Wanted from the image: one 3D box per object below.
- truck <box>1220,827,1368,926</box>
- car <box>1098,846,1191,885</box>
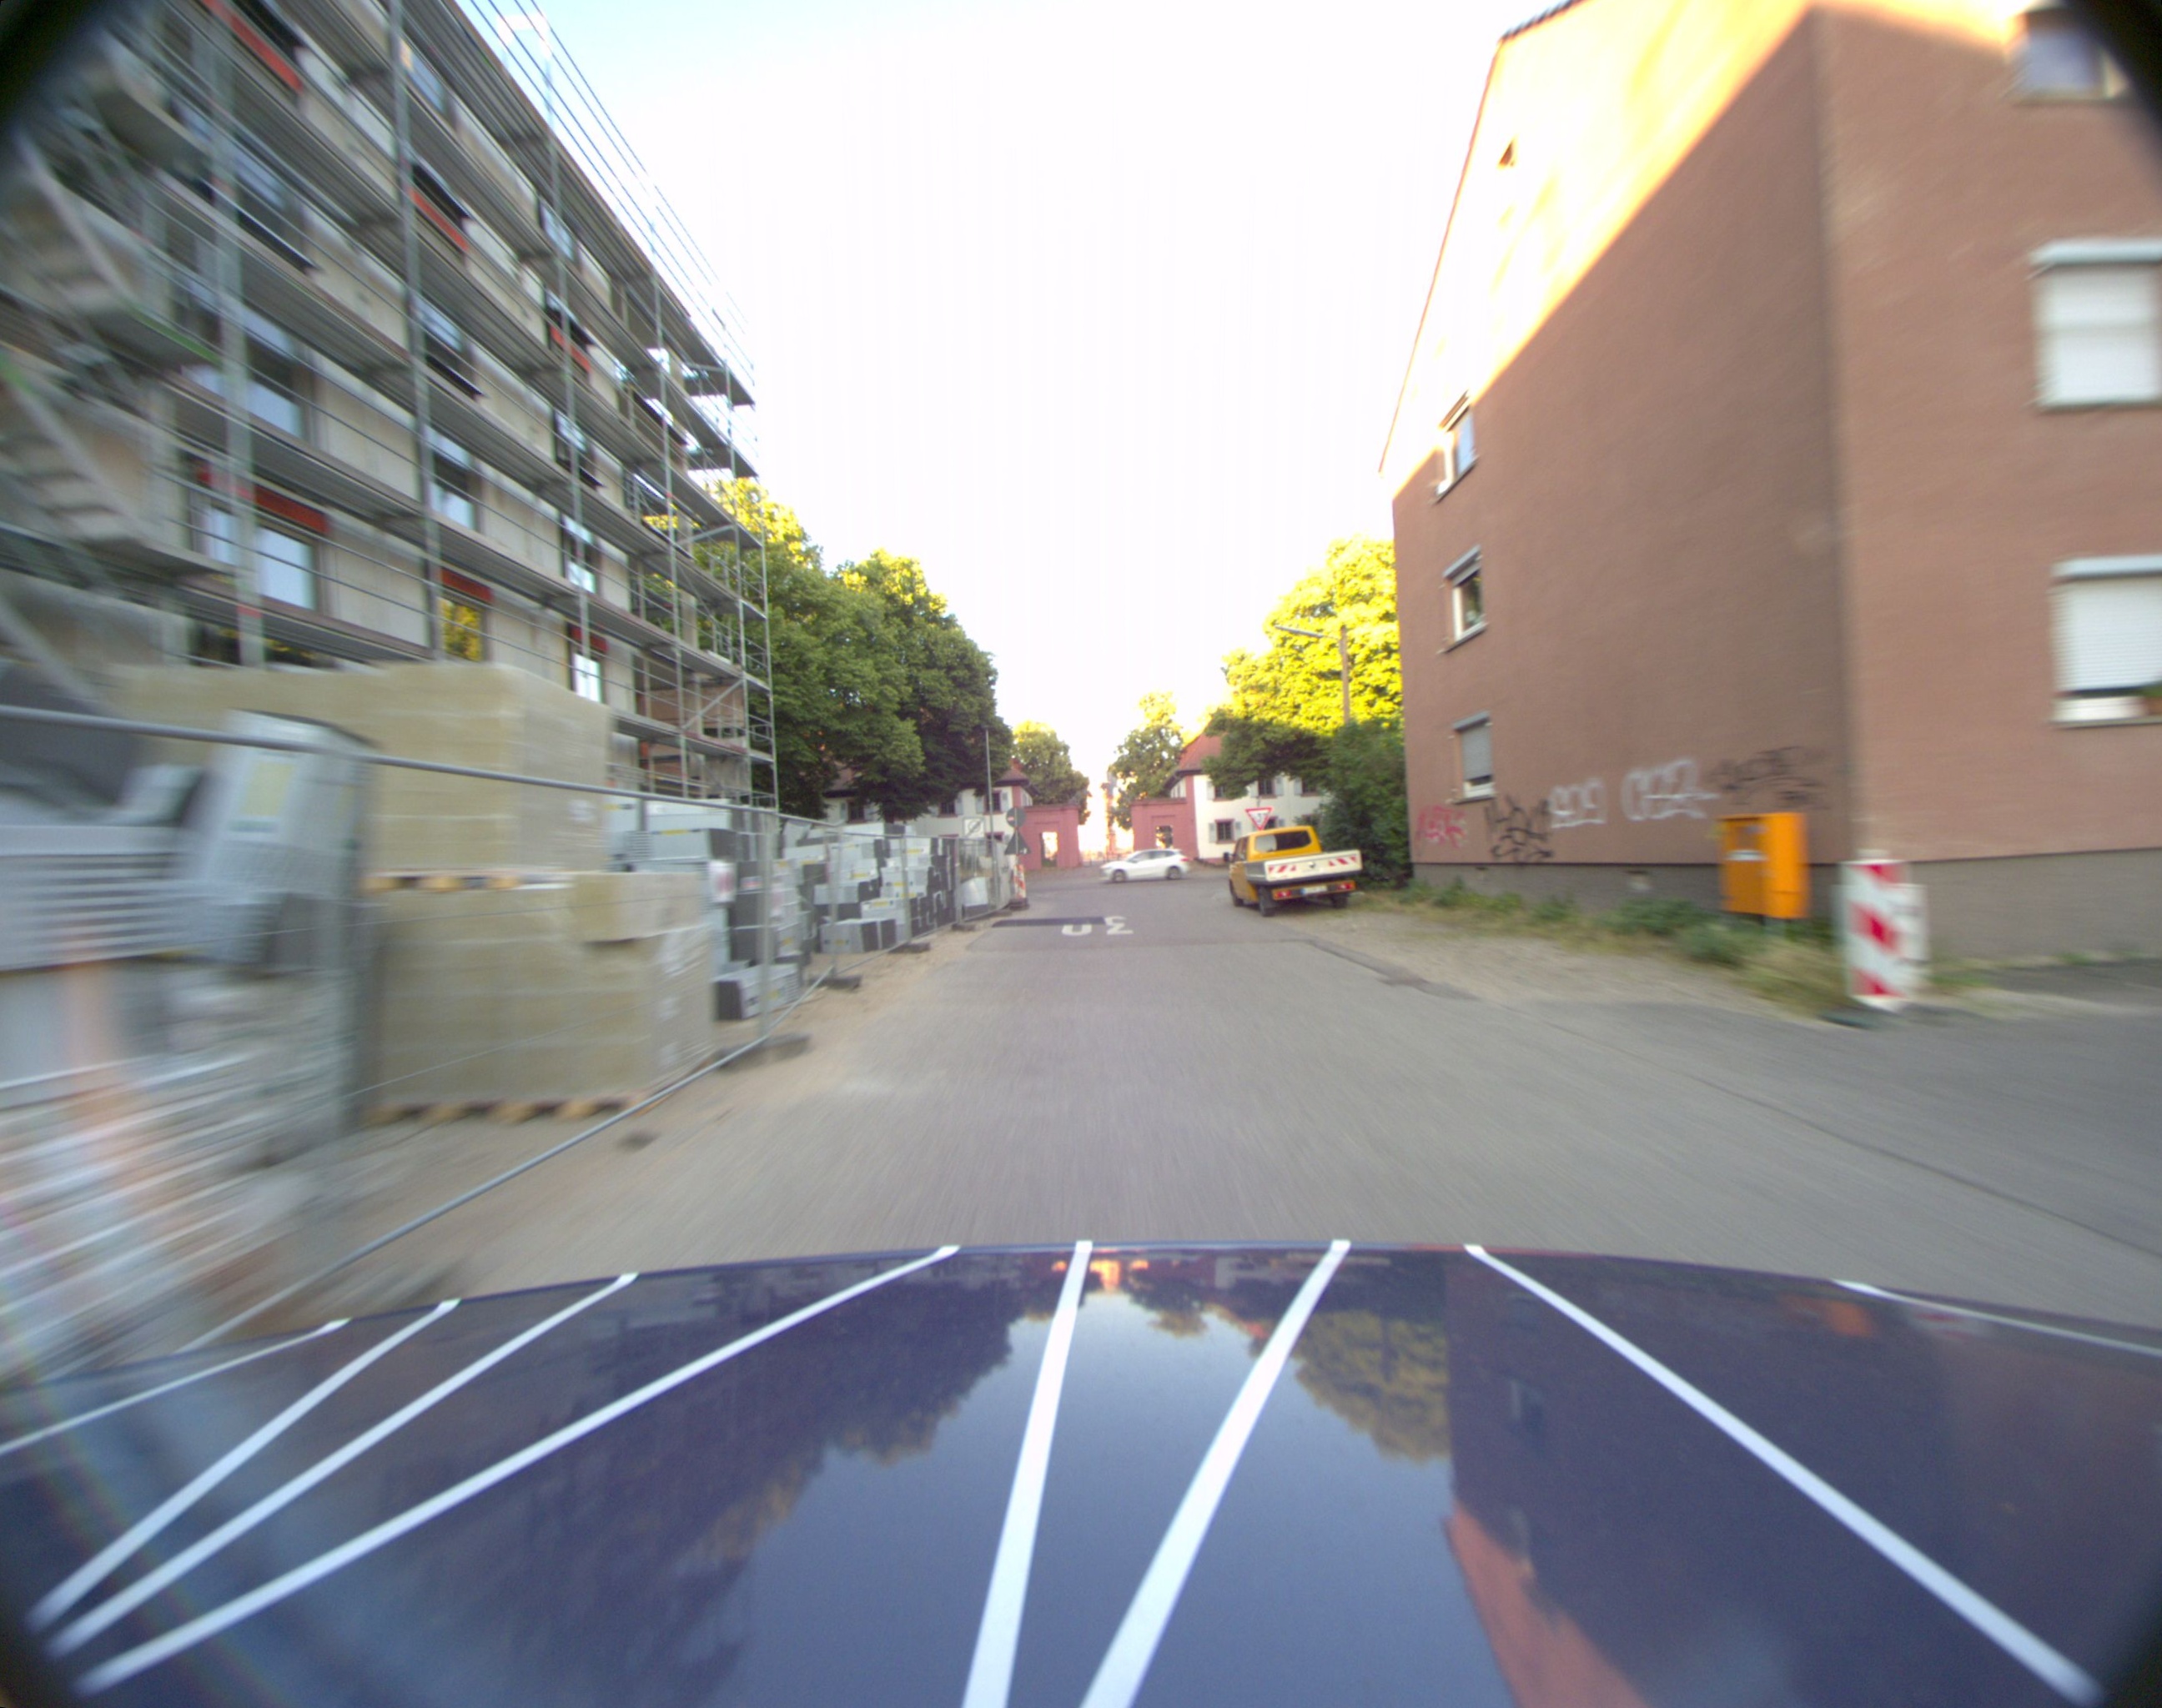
[{"bbox_3d":[4.931,0.438,18.574,2.039,1.902,5.661,-4,0,1],"label":"truck"},{"bbox_3d":[3.115,0.577,37.878,4.406,1.547,1.791,-4,-1,0],"label":"car"}]
